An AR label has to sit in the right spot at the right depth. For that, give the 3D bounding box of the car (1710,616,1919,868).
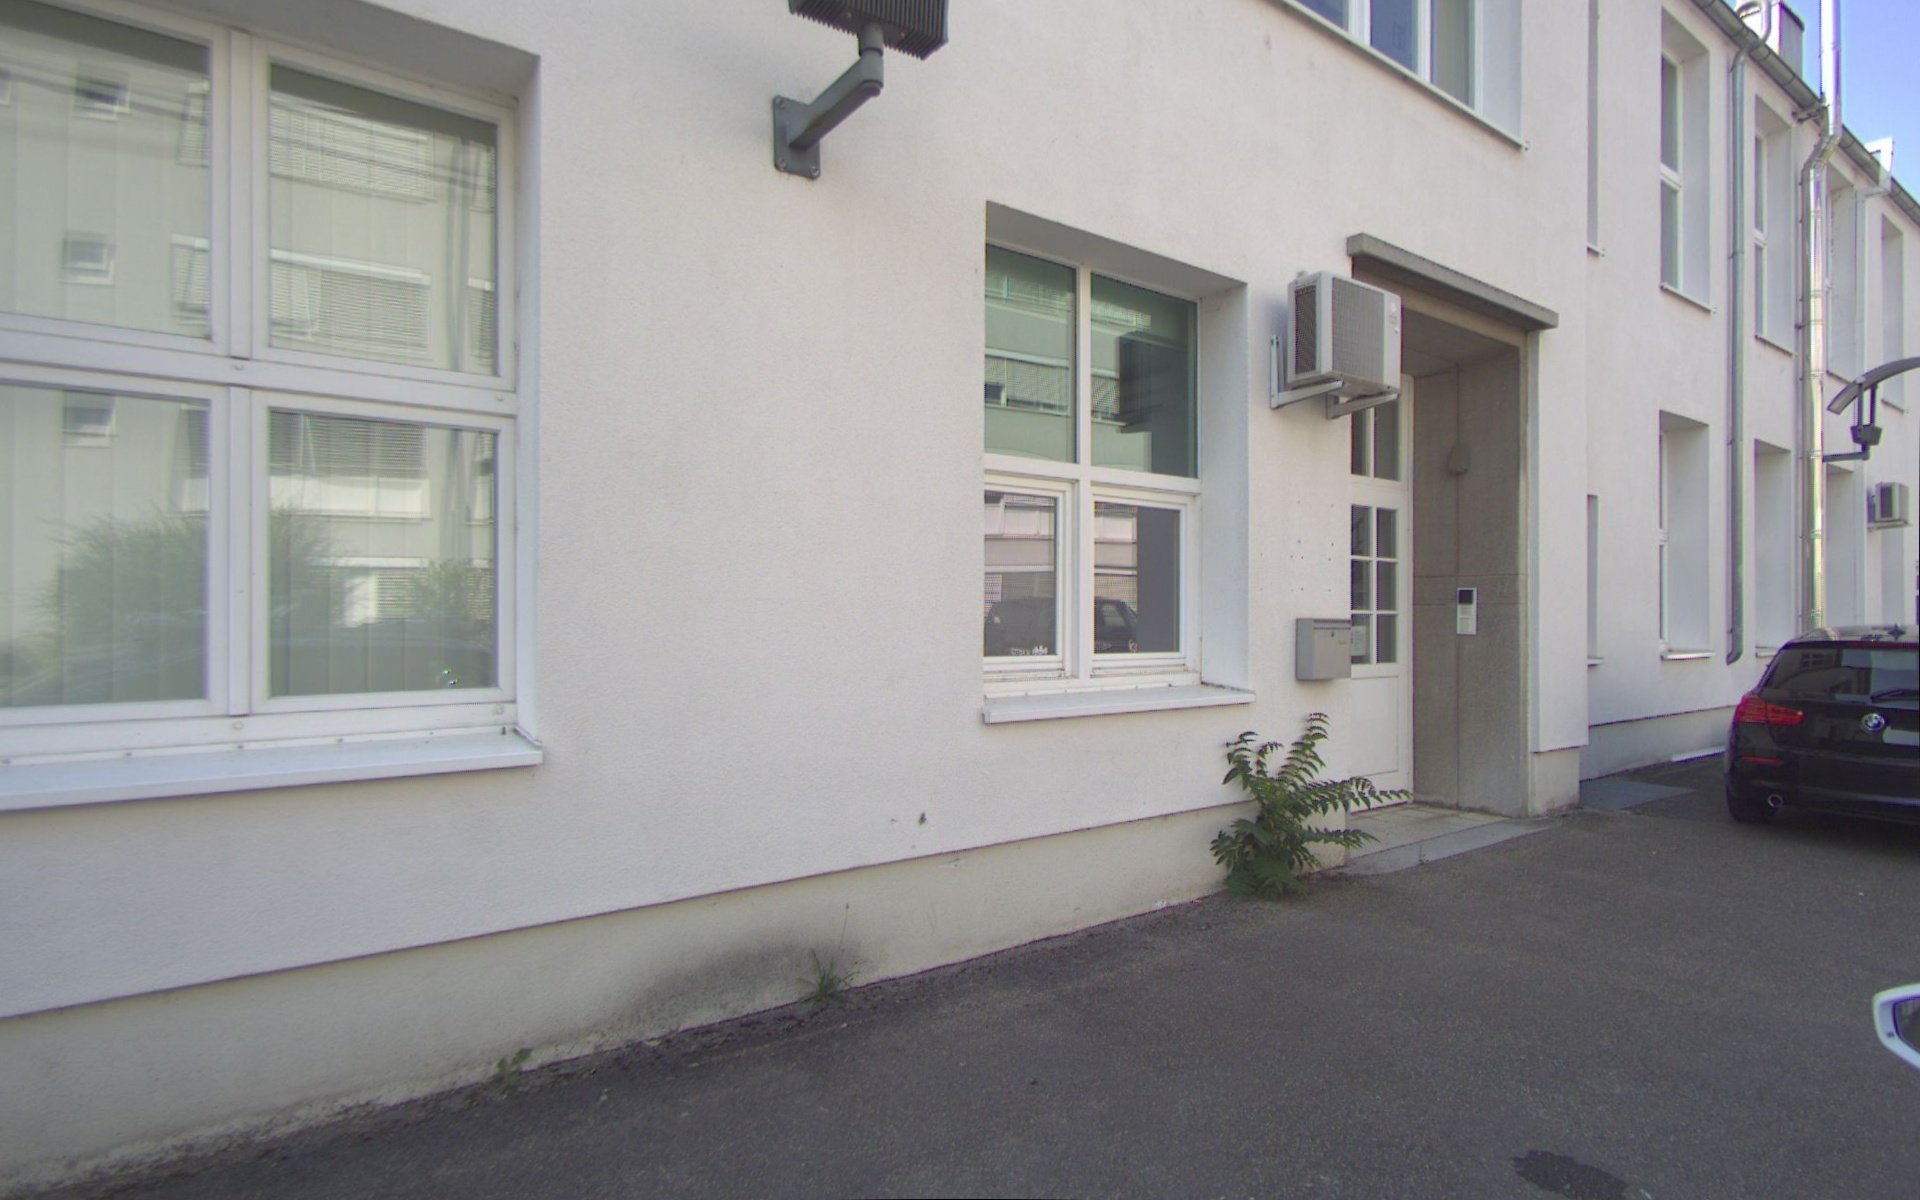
[{"bbox_3d":[7.078,0.883,7.271,3.887,1.478,1.676,2,-1,-38],"label":"car"}]
